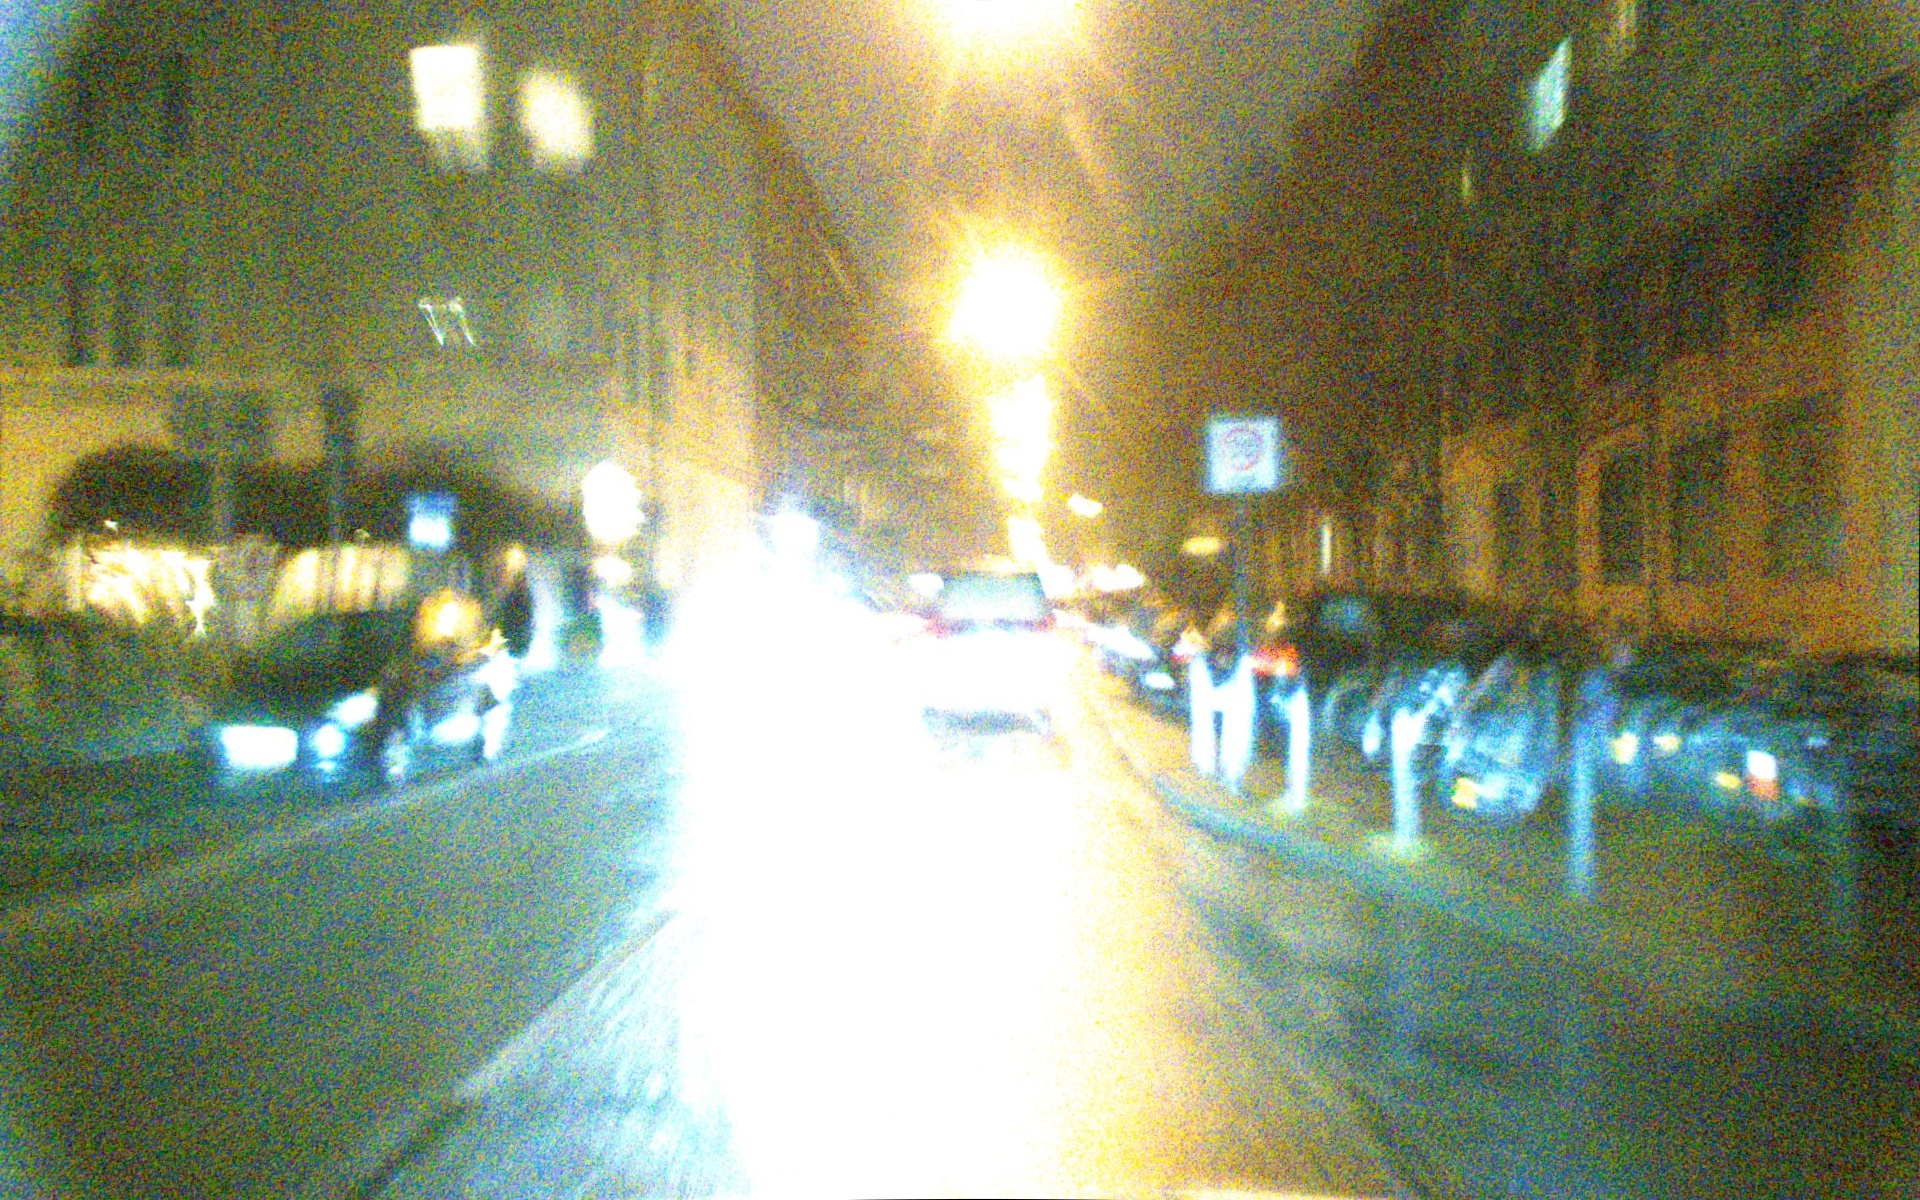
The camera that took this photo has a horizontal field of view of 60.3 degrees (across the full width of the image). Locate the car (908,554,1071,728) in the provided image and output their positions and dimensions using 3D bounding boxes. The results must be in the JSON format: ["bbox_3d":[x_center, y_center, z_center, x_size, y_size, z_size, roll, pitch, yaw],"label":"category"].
[{"bbox_3d":[0.447,0.513,21.904,1.952,2.086,4.001,0,-1,3],"label":"car"}]

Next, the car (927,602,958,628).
[{"bbox_3d":[-1.039,0.889,98.392,1.554,1.508,3.795,1,0,4],"label":"car"}]

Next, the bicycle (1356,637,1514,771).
[{"bbox_3d":[3.711,0.809,12.937,1.109,0.964,0.267,-4,0,0],"label":"bicycle"}]

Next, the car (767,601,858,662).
[{"bbox_3d":[-3.487,0.707,39.745,1.619,1.383,4.223,0,0,2],"label":"car"}]

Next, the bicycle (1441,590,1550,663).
[{"bbox_3d":[9.372,0.456,28.966,1.653,1.166,0.596,-3,0,-6],"label":"bicycle"}]

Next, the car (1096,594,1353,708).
[{"bbox_3d":[4.012,0.752,25.196,3.500,1.639,1.703,1,0,-19],"label":"car"}]

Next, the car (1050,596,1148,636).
[{"bbox_3d":[5.601,0.644,66.845,3.620,1.486,1.594,-2,0,-22],"label":"car"}]

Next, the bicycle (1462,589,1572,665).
[{"bbox_3d":[9.328,0.451,27.719,1.653,1.166,0.485,-3,0,-6],"label":"bicycle"}]

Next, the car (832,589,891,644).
[{"bbox_3d":[-3.204,0.534,54.305,1.570,1.736,3.722,0,0,2],"label":"car"}]

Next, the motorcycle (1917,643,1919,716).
[{"bbox_3d":[5.087,0.721,7.074,1.601,1.143,0.652,-3,0,-5],"label":"motorcycle"}]

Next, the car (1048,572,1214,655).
[{"bbox_3d":[5.012,0.376,48.223,4.668,2.287,1.924,-1,-1,-34],"label":"car"}]

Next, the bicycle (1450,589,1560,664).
[{"bbox_3d":[9.312,0.452,28.286,1.653,1.166,0.541,-3,0,-6],"label":"bicycle"}]

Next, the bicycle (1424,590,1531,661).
[{"bbox_3d":[9.291,0.457,29.734,1.653,1.166,0.665,-3,0,-6],"label":"bicycle"}]

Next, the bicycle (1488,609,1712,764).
[{"bbox_3d":[5.099,0.686,13.246,1.561,1.178,0.540,-2,0,10],"label":"bicycle"}]

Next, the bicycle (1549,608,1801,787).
[{"bbox_3d":[5.005,0.671,11.609,1.563,1.178,0.418,-2,0,-1],"label":"bicycle"}]

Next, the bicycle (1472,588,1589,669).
[{"bbox_3d":[8.963,0.440,25.999,1.653,1.166,0.428,-3,0,-6],"label":"bicycle"}]

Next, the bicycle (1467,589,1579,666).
[{"bbox_3d":[9.250,0.448,27.187,1.653,1.166,0.428,-3,0,-6],"label":"bicycle"}]

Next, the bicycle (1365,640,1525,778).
[{"bbox_3d":[3.709,0.830,12.664,1.109,0.991,0.249,-3,0,0],"label":"bicycle"}]

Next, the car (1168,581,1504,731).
[{"bbox_3d":[4.527,0.634,19.932,3.650,1.549,1.645,-2,0,-23],"label":"car"}]

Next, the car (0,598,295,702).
[{"bbox_3d":[-13.014,0.775,26.588,3.904,1.565,1.792,0,0,2],"label":"car"}]

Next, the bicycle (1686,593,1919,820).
[{"bbox_3d":[5.131,0.609,9.656,1.546,1.255,0.418,-2,0,5],"label":"bicycle"}]

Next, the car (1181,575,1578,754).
[{"bbox_3d":[4.268,0.604,16.864,3.650,1.549,1.645,-2,0,-23],"label":"car"}]

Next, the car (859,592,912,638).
[{"bbox_3d":[-2.681,0.509,60.373,1.570,1.579,4.026,1,0,2],"label":"car"}]

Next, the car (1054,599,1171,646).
[{"bbox_3d":[5.533,0.816,59.913,3.949,1.579,1.784,-1,-1,-33],"label":"car"}]

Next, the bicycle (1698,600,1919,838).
[{"bbox_3d":[5.010,0.643,9.142,1.629,1.255,0.386,-2,0,5],"label":"bicycle"}]

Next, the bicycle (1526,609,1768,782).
[{"bbox_3d":[4.995,0.681,12.052,1.563,1.178,0.418,-2,0,-1],"label":"bicycle"}]

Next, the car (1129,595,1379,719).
[{"bbox_3d":[3.956,0.739,22.352,2.993,1.579,1.497,1,0,-19],"label":"car"}]

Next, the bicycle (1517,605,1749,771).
[{"bbox_3d":[5.071,0.655,12.496,1.563,1.178,0.418,-2,0,-1],"label":"bicycle"}]

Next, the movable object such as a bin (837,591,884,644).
[{"bbox_3d":[-2.882,0.510,47.920,1.183,1.485,1.107,1,0,5],"label":"movable object such as a bin"}]

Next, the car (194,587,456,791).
[{"bbox_3d":[-5.152,0.647,13.819,1.520,1.468,3.551,2,0,-13],"label":"car"}]

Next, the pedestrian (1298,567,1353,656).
[{"bbox_3d":[8.034,0.259,36.351,0.821,1.867,0.947,-5,-1,-1],"label":"pedestrian"}]

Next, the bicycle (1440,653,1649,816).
[{"bbox_3d":[3.688,0.843,10.468,1.186,0.964,0.302,-2,0,-1],"label":"bicycle"}]

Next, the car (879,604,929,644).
[{"bbox_3d":[-2.175,0.913,65.345,1.651,1.481,4.317,1,0,2],"label":"car"}]

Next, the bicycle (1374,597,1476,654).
[{"bbox_3d":[9.646,0.532,34.343,1.933,1.073,0.509,-3,0,-4],"label":"bicycle"}]

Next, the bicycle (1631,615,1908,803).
[{"bbox_3d":[5.209,0.690,10.675,1.563,1.131,0.418,-2,0,-1],"label":"bicycle"}]

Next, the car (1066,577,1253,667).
[{"bbox_3d":[4.701,0.508,38.759,4.195,1.891,1.697,-2,0,-33],"label":"car"}]

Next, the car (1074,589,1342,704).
[{"bbox_3d":[4.101,0.740,27.446,4.035,1.795,1.847,1,0,-22],"label":"car"}]

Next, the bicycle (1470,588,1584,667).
[{"bbox_3d":[9.122,0.436,26.617,1.653,1.166,0.428,-3,0,-6],"label":"bicycle"}]

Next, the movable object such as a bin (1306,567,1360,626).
[{"bbox_3d":[10.182,-0.096,45.167,1.184,1.476,0.999,-5,-1,3],"label":"movable object such as a bin"}]
